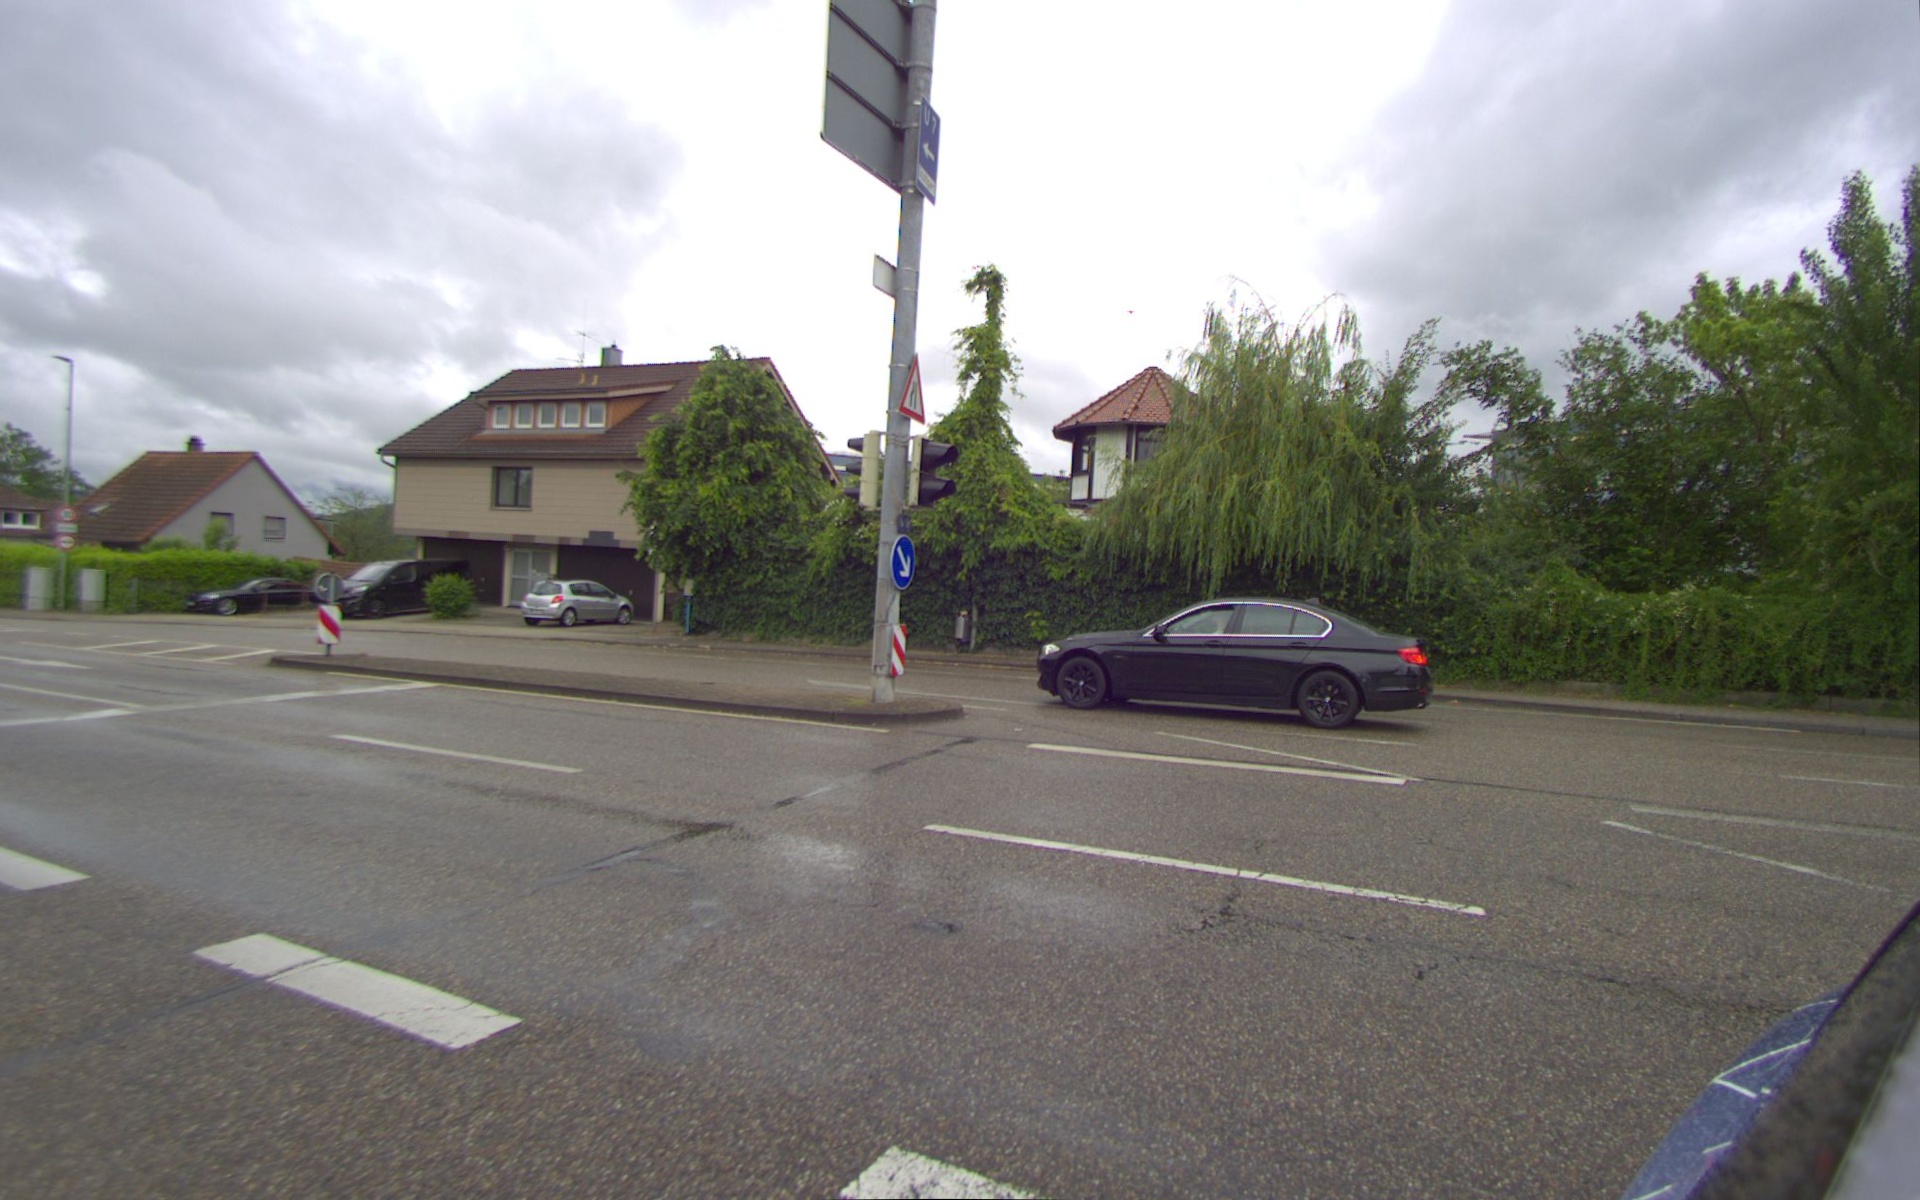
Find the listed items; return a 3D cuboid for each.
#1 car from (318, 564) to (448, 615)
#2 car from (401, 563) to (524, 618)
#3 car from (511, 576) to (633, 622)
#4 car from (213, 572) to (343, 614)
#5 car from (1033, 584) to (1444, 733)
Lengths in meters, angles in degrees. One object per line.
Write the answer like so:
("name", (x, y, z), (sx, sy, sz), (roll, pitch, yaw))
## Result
("car", (-20.031, -0.361, 35.292), (1.772, 1.646, 3.609), (2, 1, 24))
("car", (-17.266, -0.313, 35.279), (1.690, 1.768, 3.609), (2, 1, 24))
("car", (-12.541, -0.047, 32.949), (1.708, 1.413, 3.700), (0, 0, 21))
("car", (-24.700, -0.219, 36.765), (1.504, 1.387, 3.665), (-1, -2, 26))
("car", (3.413, 0.611, 12.599), (4.673, 1.478, 1.780), (2, 0, 27))
